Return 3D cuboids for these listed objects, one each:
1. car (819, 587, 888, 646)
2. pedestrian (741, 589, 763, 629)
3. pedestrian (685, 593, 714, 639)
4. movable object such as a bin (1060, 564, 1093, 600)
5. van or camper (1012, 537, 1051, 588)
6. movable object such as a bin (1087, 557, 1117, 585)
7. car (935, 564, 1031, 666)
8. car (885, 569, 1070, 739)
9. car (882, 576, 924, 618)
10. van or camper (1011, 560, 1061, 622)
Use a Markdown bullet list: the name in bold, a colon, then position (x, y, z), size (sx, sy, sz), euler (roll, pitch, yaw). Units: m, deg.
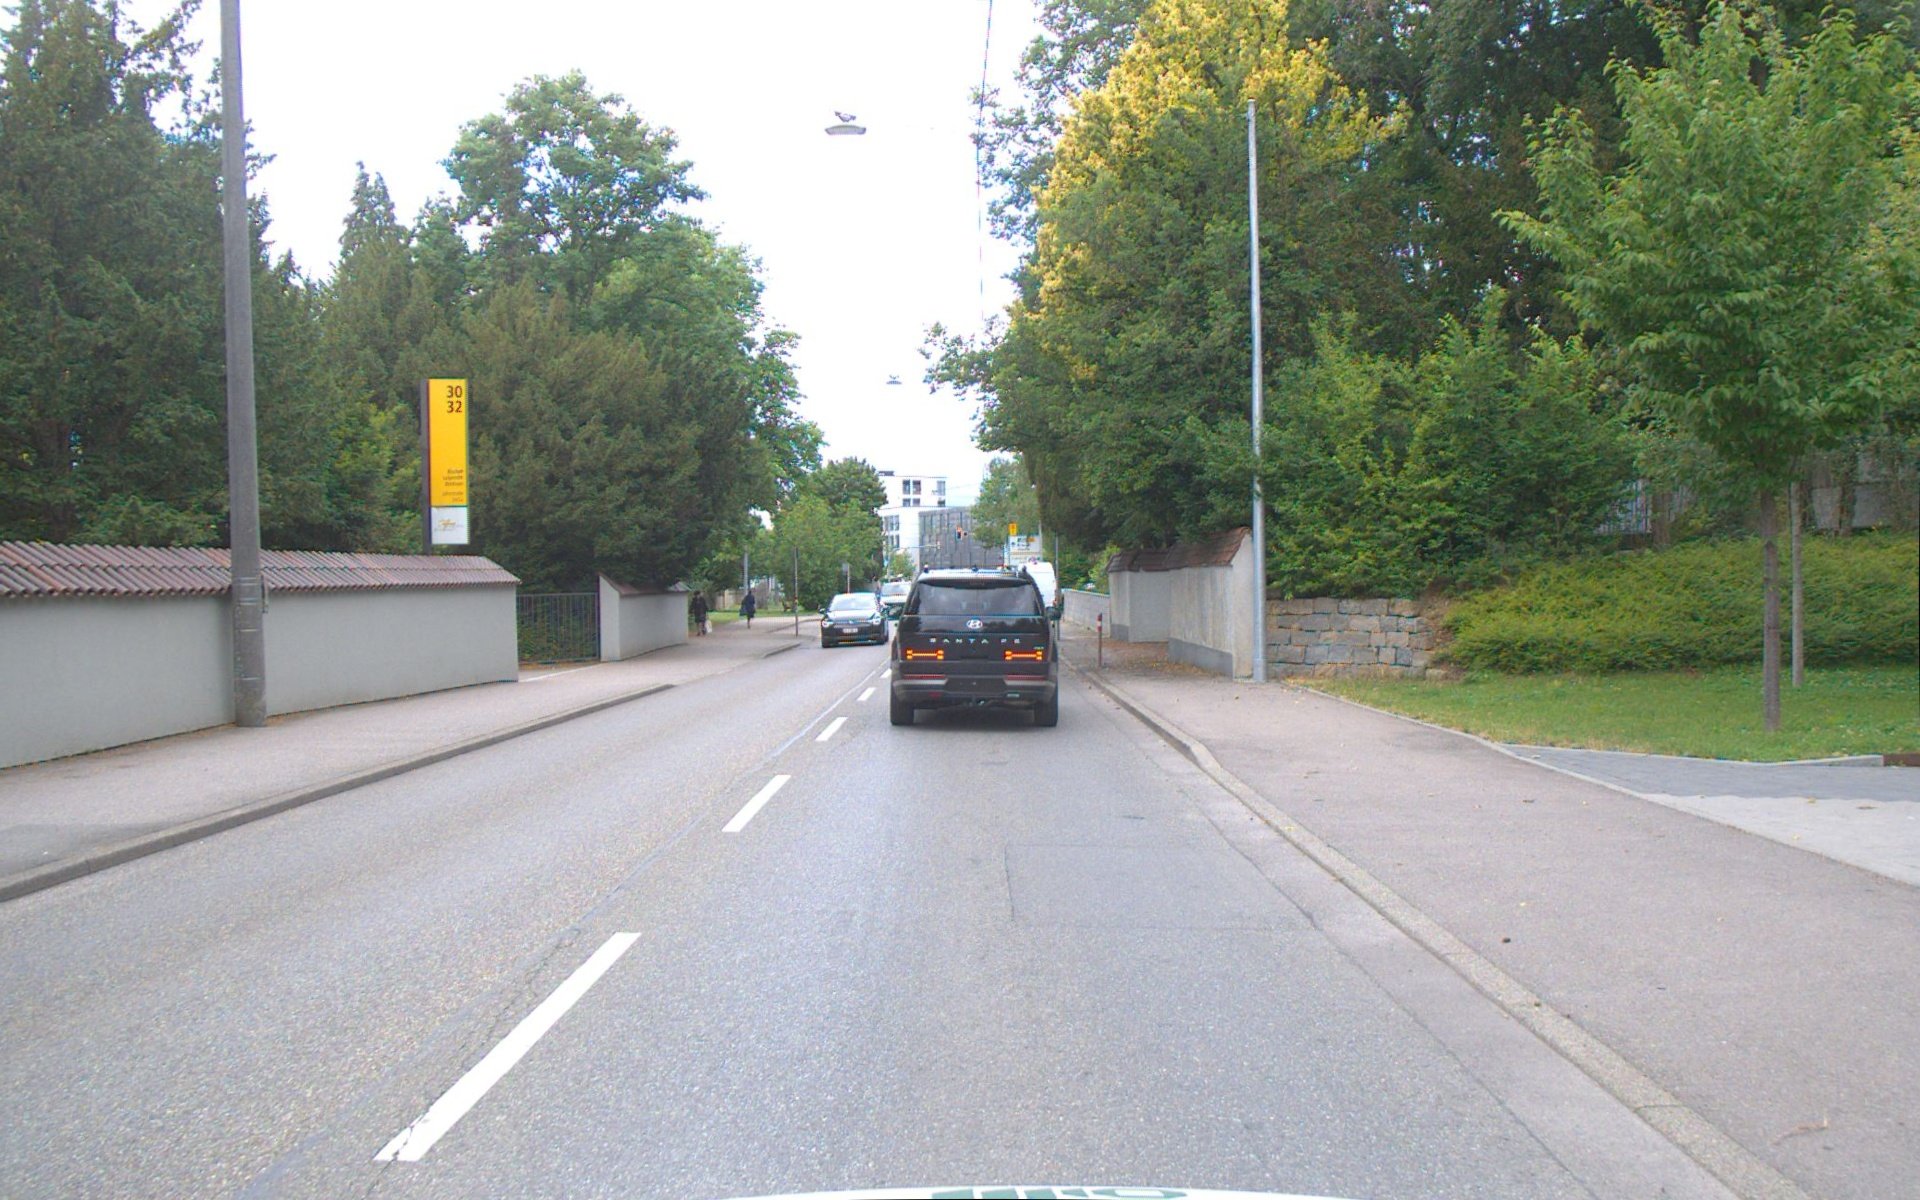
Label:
- **car**: position (-2.962, 0.440, 46.783), size (1.750, 1.453, 3.999), euler (-3, 1, -2)
- **pedestrian**: position (-8.551, 0.349, 68.013), size (0.733, 1.605, 0.967), euler (0, 1, 0)
- **pedestrian**: position (-8.977, 0.550, 57.055), size (0.907, 1.588, 0.902), euler (1, 0, -4)
- **movable object such as a bin**: position (4.967, -0.770, 70.502), size (1.273, 1.475, 1.181), euler (-3, 1, 0)
- **van or camper**: position (4.233, -2.218, 98.186), size (1.924, 2.845, 5.287), euler (-3, 1, 0)
- **movable object such as a bin**: position (7.927, -1.624, 92.379), size (1.421, 1.499, 1.716), euler (-1, 1, -5)
- **car**: position (0.463, 0.263, 36.163), size (1.923, 2.036, 4.000), euler (-2, 1, 0)
- **car**: position (0.205, 0.533, 19.358), size (1.923, 1.741, 4.001), euler (0, 1, 1)
- **car**: position (-2.837, -0.192, 83.780), size (1.852, 1.887, 5.083), euler (-5, 1, -1)
- **van or camper**: position (3.607, -0.488, 79.389), size (1.924, 2.673, 6.359), euler (-4, 1, 0)
